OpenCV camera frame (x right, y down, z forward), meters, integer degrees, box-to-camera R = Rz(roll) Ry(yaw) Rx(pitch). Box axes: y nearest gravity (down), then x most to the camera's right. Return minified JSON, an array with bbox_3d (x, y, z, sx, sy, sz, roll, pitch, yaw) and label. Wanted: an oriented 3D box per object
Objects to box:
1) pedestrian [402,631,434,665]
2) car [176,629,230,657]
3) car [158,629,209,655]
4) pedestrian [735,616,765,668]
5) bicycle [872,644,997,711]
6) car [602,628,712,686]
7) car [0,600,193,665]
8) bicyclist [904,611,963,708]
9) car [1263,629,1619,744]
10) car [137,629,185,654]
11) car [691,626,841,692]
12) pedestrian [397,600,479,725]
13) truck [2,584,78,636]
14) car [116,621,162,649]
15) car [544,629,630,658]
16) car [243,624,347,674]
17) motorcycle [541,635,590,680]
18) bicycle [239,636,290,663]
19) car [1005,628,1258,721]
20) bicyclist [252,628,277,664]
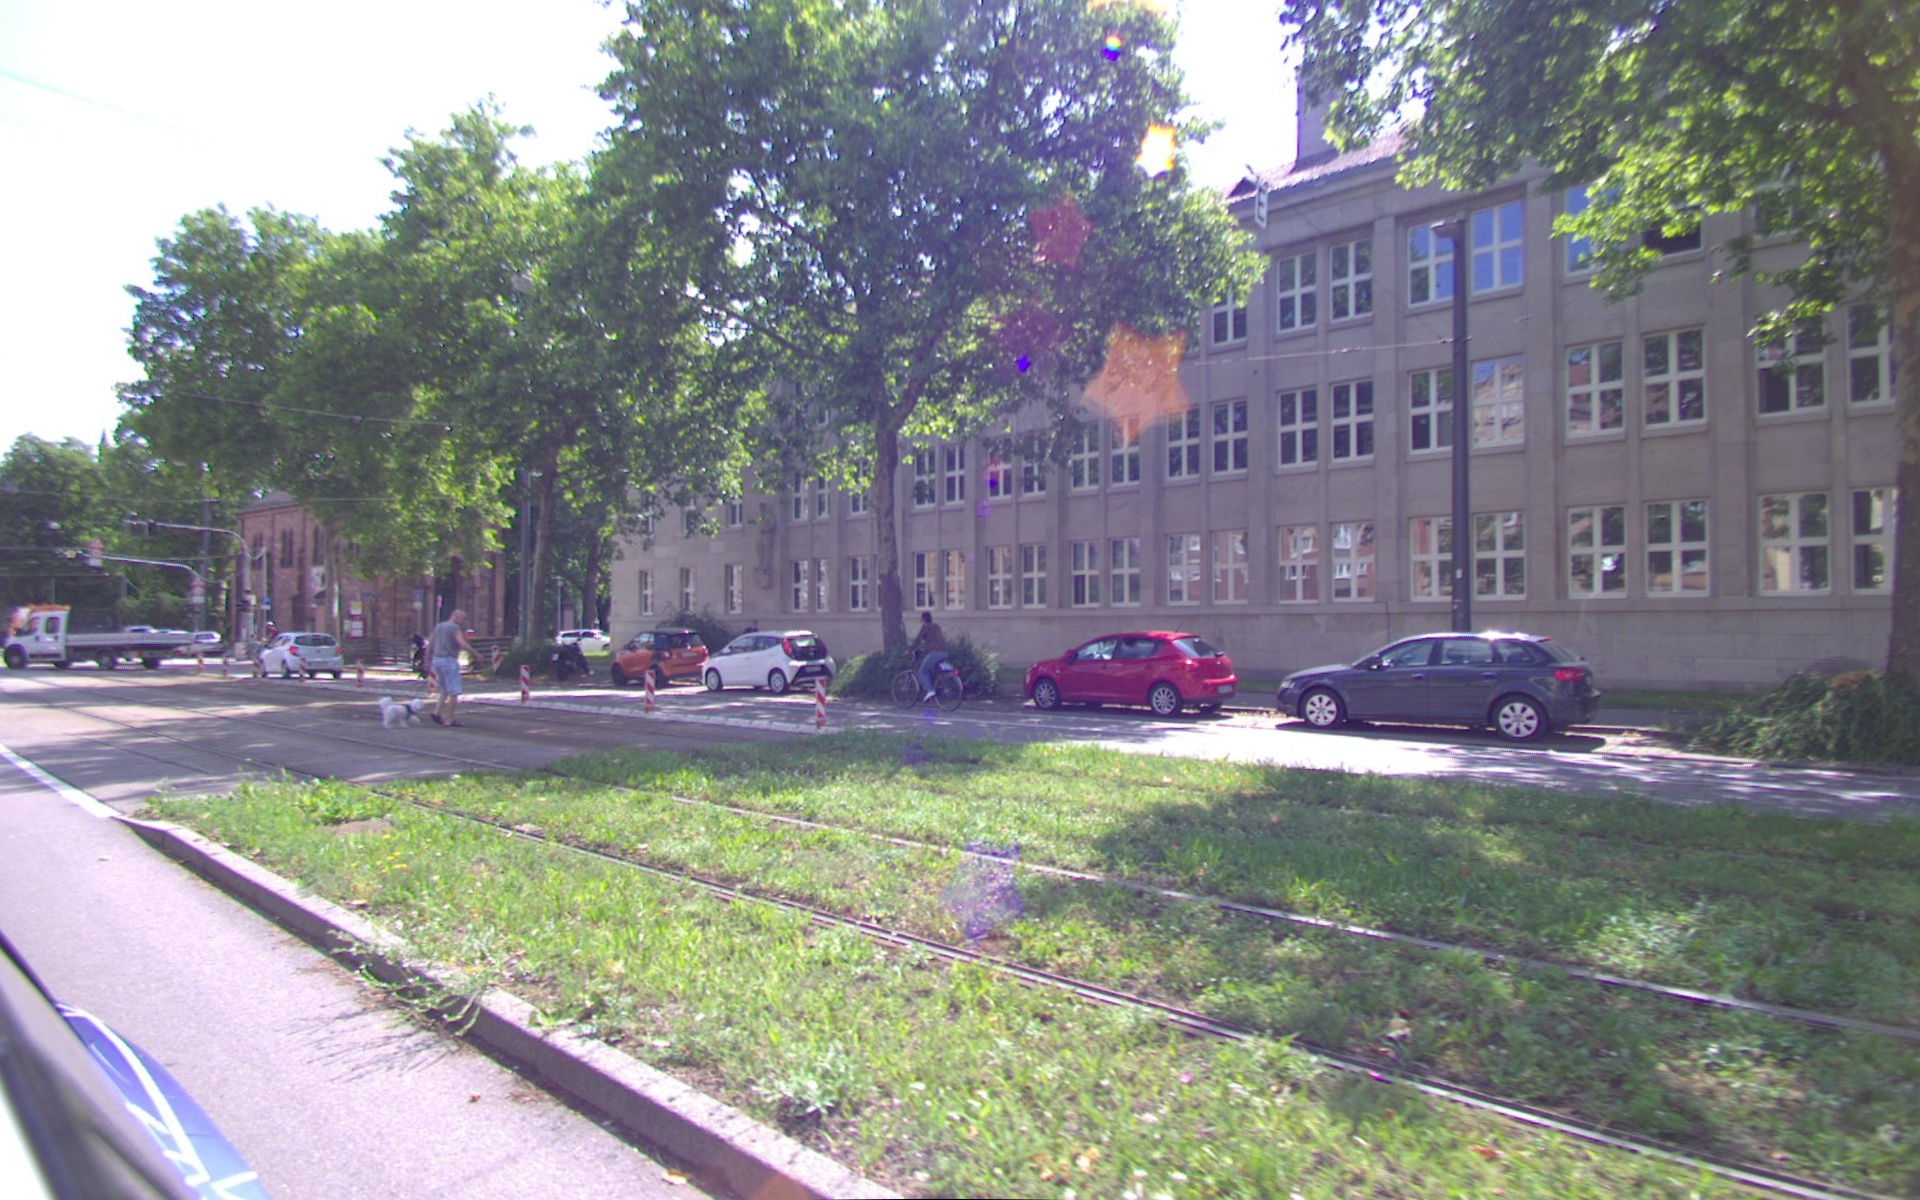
[{"bbox_3d":[-20.667,1.806,38.614,0.913,1.221,0.747,-1,2,42],"label":"pedestrian"},{"bbox_3d":[-44.293,2.496,59.223,3.998,1.508,1.738,-1,-1,41],"label":"car"},{"bbox_3d":[-47.767,2.569,62.223,3.998,1.508,1.738,-1,-1,41],"label":"car"},{"bbox_3d":[-6.475,1.284,31.175,0.794,1.603,0.548,-1,-2,40],"label":"pedestrian"},{"bbox_3d":[-0.486,1.392,18.508,2.271,1.118,0.784,-1,-1,35],"label":"bicycle"},{"bbox_3d":[-8.256,1.518,27.511,2.879,1.465,1.472,-2,-1,39],"label":"car"},{"bbox_3d":[-33.252,1.240,38.639,6.905,2.392,2.255,0,-2,11],"label":"car"},{"bbox_3d":[-0.482,1.066,18.494,0.781,1.717,0.755,-1,-1,35],"label":"bicyclist"},{"bbox_3d":[6.842,1.155,14.621,4.312,1.379,1.907,-2,-1,39],"label":"car"},{"bbox_3d":[-51.364,2.639,65.057,3.998,1.508,1.738,-1,-1,41],"label":"car"},{"bbox_3d":[-4.754,1.405,24.609,3.487,1.465,1.729,-2,-1,39],"label":"car"},{"bbox_3d":[-7.448,0.868,14.456,0.698,1.717,0.777,-1,-1,23],"label":"pedestrian"},{"bbox_3d":[-59.134,0.694,64.987,7.218,3.130,2.612,-1,-4,41],"label":"truck"},{"bbox_3d":[-56.154,2.378,69.194,3.998,1.850,1.738,-1,-1,41],"label":"car"},{"bbox_3d":[-21.484,2.486,58.351,4.362,1.620,1.755,0,-2,10],"label":"car"},{"bbox_3d":[-21.584,1.603,32.808,3.784,1.491,1.742,-2,-5,40],"label":"car"},{"bbox_3d":[-12.074,1.739,31.018,0.537,1.184,2.106,-4,1,2],"label":"motorcycle"},{"bbox_3d":[-35.824,2.531,52.148,0.670,1.300,2.065,-1,0,33],"label":"bicycle"},{"bbox_3d":[2.986,1.261,18.073,4.047,1.431,1.906,-2,-1,41],"label":"car"},{"bbox_3d":[-35.833,2.359,52.147,0.660,1.798,0.875,-1,-1,32],"label":"bicyclist"}]
